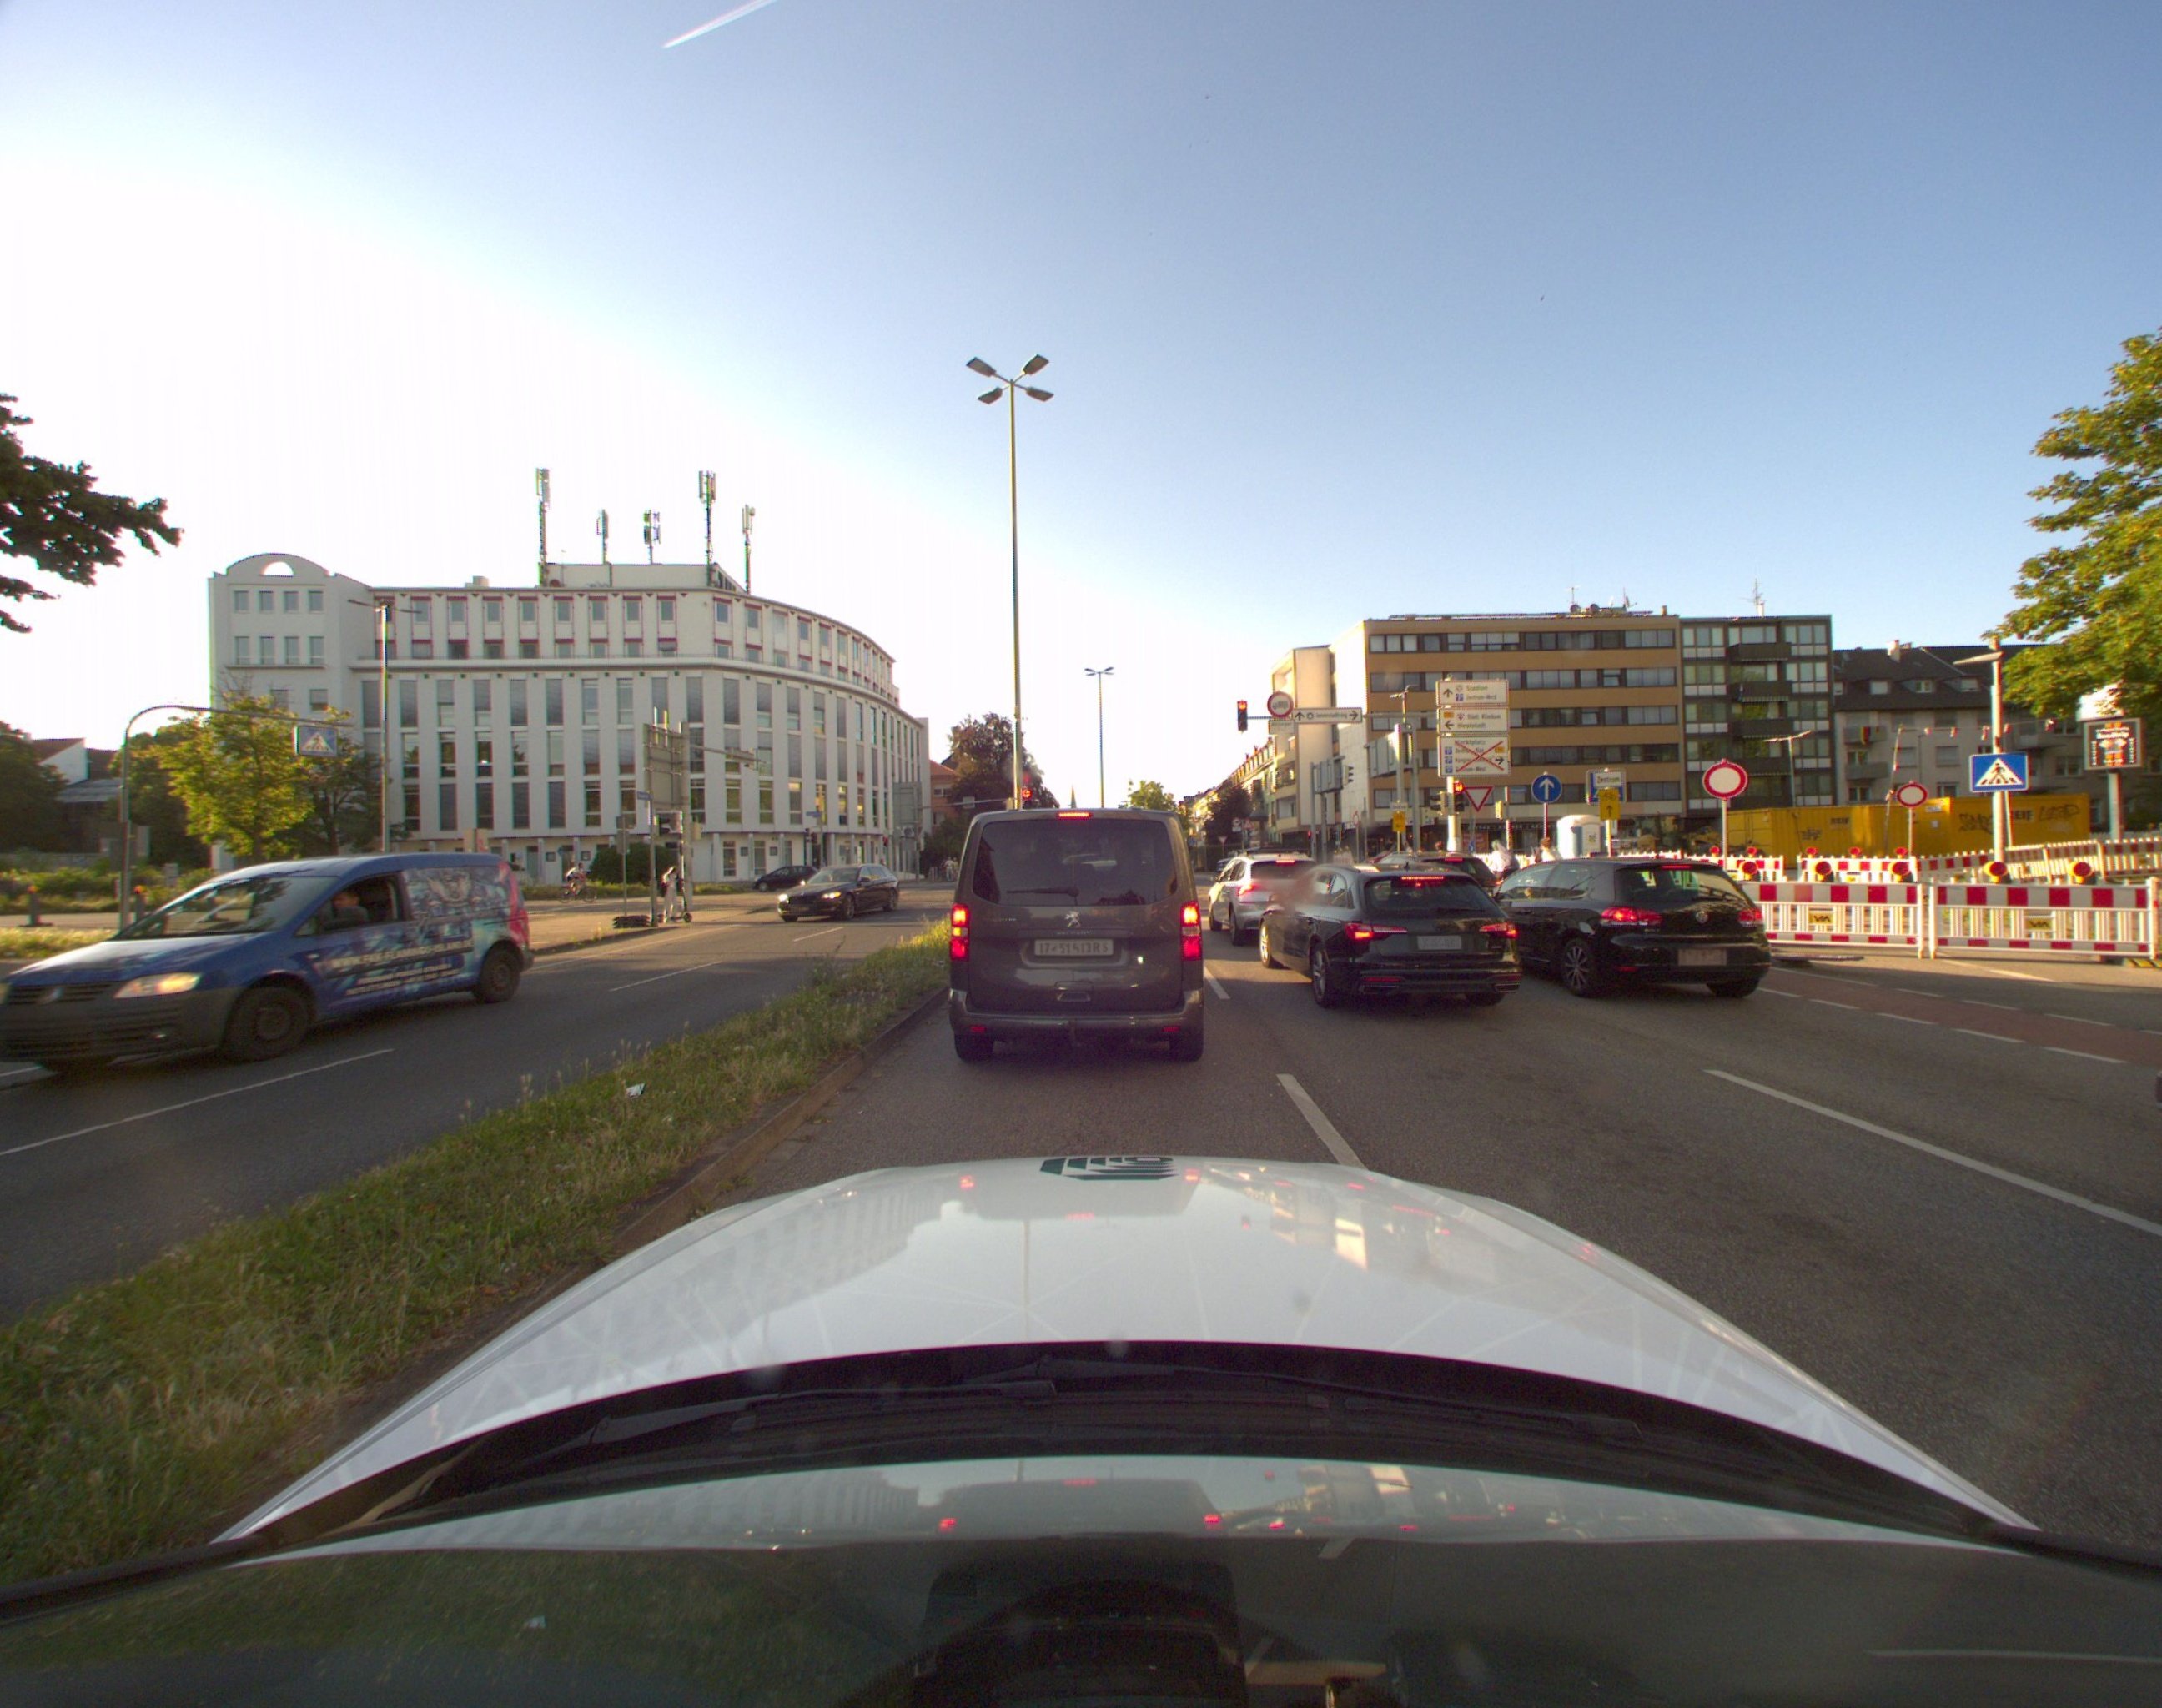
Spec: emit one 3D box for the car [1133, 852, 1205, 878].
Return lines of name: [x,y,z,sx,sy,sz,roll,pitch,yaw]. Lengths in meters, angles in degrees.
car: [4.943,0.623,46.214,3.809,1.354,1.725,-2,0,-4]

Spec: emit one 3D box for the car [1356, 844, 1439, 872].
car: [17.314,0.219,44.587,3.990,1.418,1.675,-2,0,-12]

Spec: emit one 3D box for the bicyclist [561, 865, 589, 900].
bicyclist: [-21.978,1.244,35.363,0.884,1.496,0.457,-2,0,-5]

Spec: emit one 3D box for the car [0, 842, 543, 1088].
car: [-7.903,0.851,8.255,1.987,1.817,4.229,-2,0,1]

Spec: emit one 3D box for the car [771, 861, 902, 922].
car: [-6.734,0.987,22.944,1.686,1.441,4.255,-2,0,11]

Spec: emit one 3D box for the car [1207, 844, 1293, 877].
car: [8.642,0.306,41.600,4.003,1.516,1.669,-2,0,-22]

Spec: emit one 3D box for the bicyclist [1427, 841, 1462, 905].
bicyclist: [8.975,0.458,20.127,0.511,1.525,0.725,-2,0,1]

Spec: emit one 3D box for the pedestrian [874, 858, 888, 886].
pedestrian: [-12.677,1.156,51.613,0.631,1.722,0.664,-1,0,-36]

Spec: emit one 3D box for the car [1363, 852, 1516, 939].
car: [6.589,0.694,15.325,1.499,1.449,3.306,0,0,2]

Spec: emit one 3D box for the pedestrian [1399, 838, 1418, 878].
pedestrian: [14.089,0.168,35.003,0.599,1.671,0.455,-2,0,3]

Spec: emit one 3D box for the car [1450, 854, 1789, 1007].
car: [5.984,0.733,9.643,1.627,1.449,3.746,0,0,2]

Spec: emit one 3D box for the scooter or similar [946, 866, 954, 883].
scooter or similar: [-9.465,1.461,58.801,0.284,1.189,1.169,-2,0,2]

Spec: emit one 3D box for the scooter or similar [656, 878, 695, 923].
scooter or similar: [-11.441,1.305,22.990,0.893,1.234,0.370,-2,0,-10]

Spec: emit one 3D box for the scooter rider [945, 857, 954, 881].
scooter rider: [-9.471,1.107,58.714,0.479,1.697,0.636,-2,0,1]

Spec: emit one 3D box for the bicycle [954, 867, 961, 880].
bicycle: [-9.732,1.532,64.159,0.289,0.949,1.073,-2,0,2]

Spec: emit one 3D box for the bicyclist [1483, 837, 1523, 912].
bicyclist: [8.908,0.424,17.191,0.439,1.525,0.725,-2,0,2]

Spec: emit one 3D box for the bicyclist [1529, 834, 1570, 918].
bicyclist: [8.641,0.399,15.038,0.439,1.525,0.482,-2,0,1]

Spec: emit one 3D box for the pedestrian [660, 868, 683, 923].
pedestrian: [-11.564,1.169,22.984,0.474,1.505,0.334,-2,0,-10]

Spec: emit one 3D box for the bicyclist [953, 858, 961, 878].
bicyclist: [-9.762,1.103,64.091,0.461,1.522,0.469,-2,0,1]

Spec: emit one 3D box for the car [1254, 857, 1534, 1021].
car: [3.198,0.758,9.263,1.675,1.421,4.215,0,0,2]

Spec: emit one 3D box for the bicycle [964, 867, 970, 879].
bicycle: [-8.956,1.498,63.944,0.275,0.949,1.073,-2,0,2]

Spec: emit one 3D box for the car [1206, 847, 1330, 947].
car: [3.294,0.692,14.945,1.523,1.613,3.746,0,0,2]

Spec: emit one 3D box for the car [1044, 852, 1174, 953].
car: [0.500,0.761,14.740,1.986,1.530,4.002,-2,0,2]

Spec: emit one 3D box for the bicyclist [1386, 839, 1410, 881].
bicyclist: [12.391,0.229,31.856,0.616,1.589,0.814,0,0,-2]

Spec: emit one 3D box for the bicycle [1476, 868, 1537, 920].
bicycle: [8.910,0.808,17.107,0.335,1.008,1.856,-2,0,2]

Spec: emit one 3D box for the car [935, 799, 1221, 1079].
car: [0.049,0.573,7.697,1.900,1.863,4.528,0,0,2]

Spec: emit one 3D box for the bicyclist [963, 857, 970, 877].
bicyclist: [-8.983,1.050,63.918,0.475,1.555,0.510,-2,0,1]

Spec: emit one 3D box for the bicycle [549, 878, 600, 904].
bicycle: [-21.987,1.596,35.361,1.795,1.042,0.502,-2,0,-5]

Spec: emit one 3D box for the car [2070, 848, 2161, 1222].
car: [5.109,0.688,1.126,1.809,1.449,4.665,-1,0,-1]

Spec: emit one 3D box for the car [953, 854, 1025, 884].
car: [-5.409,0.878,48.193,4.109,1.594,1.793,-2,-1,-4]

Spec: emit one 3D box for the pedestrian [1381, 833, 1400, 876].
pedestrian: [13.285,0.034,34.948,0.567,1.834,0.488,-2,0,4]

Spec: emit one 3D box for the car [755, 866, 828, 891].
car: [-16.546,1.396,46.705,3.602,1.296,1.832,-2,0,-7]
